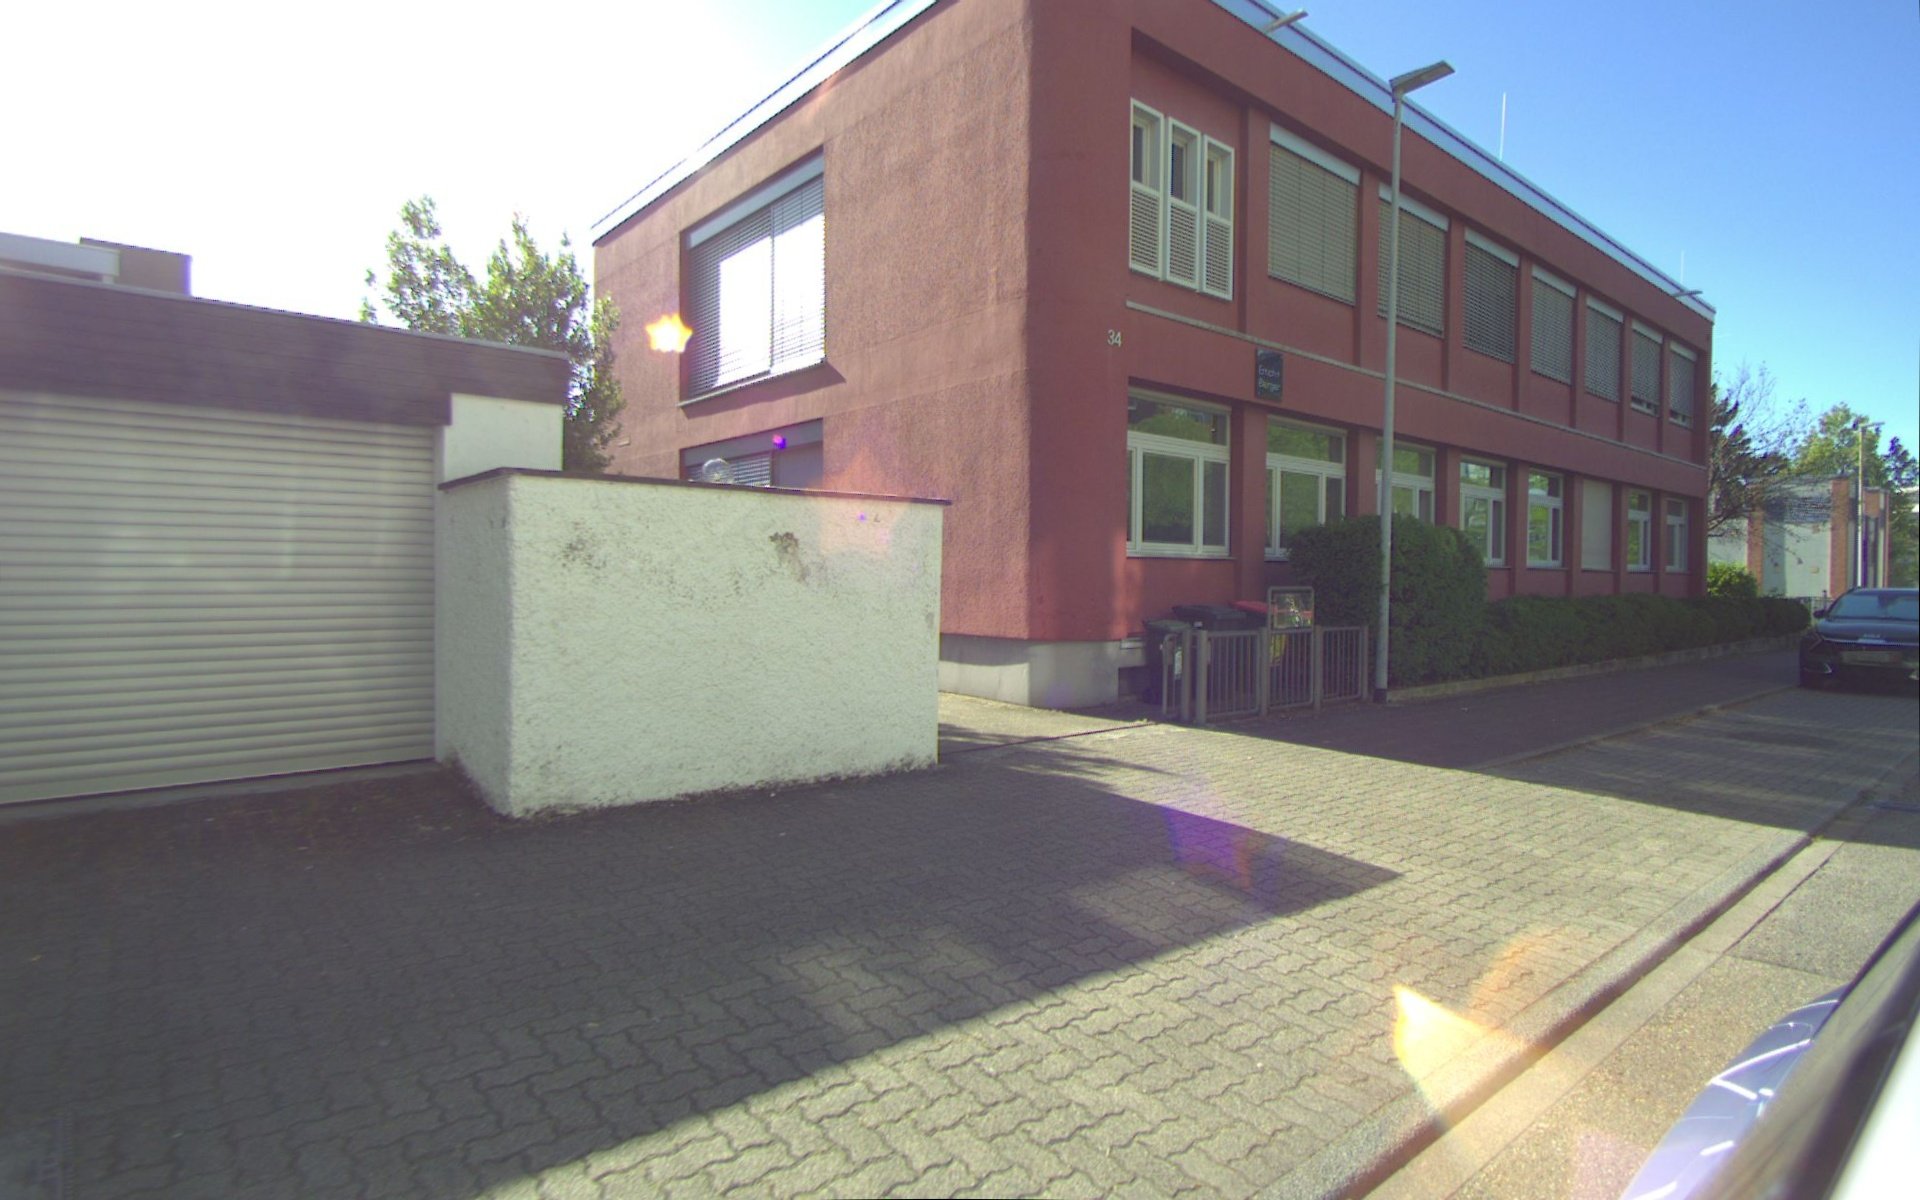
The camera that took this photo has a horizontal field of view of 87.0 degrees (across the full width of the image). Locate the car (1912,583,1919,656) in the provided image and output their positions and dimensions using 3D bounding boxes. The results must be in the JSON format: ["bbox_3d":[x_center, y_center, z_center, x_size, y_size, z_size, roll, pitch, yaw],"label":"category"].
[{"bbox_3d":[23.703,0.455,23.443,4.328,1.650,1.878,0,2,-40],"label":"car"}]

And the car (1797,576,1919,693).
[{"bbox_3d":[15.130,0.482,16.179,4.294,1.650,1.903,0,2,-40],"label":"car"}]

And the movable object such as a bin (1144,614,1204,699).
[{"bbox_3d":[2.385,0.617,11.291,0.466,0.912,0.478,0,0,-39],"label":"movable object such as a bin"}]

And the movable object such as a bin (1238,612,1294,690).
[{"bbox_3d":[3.708,0.608,12.279,0.466,0.912,0.478,0,0,-39],"label":"movable object such as a bin"}]
